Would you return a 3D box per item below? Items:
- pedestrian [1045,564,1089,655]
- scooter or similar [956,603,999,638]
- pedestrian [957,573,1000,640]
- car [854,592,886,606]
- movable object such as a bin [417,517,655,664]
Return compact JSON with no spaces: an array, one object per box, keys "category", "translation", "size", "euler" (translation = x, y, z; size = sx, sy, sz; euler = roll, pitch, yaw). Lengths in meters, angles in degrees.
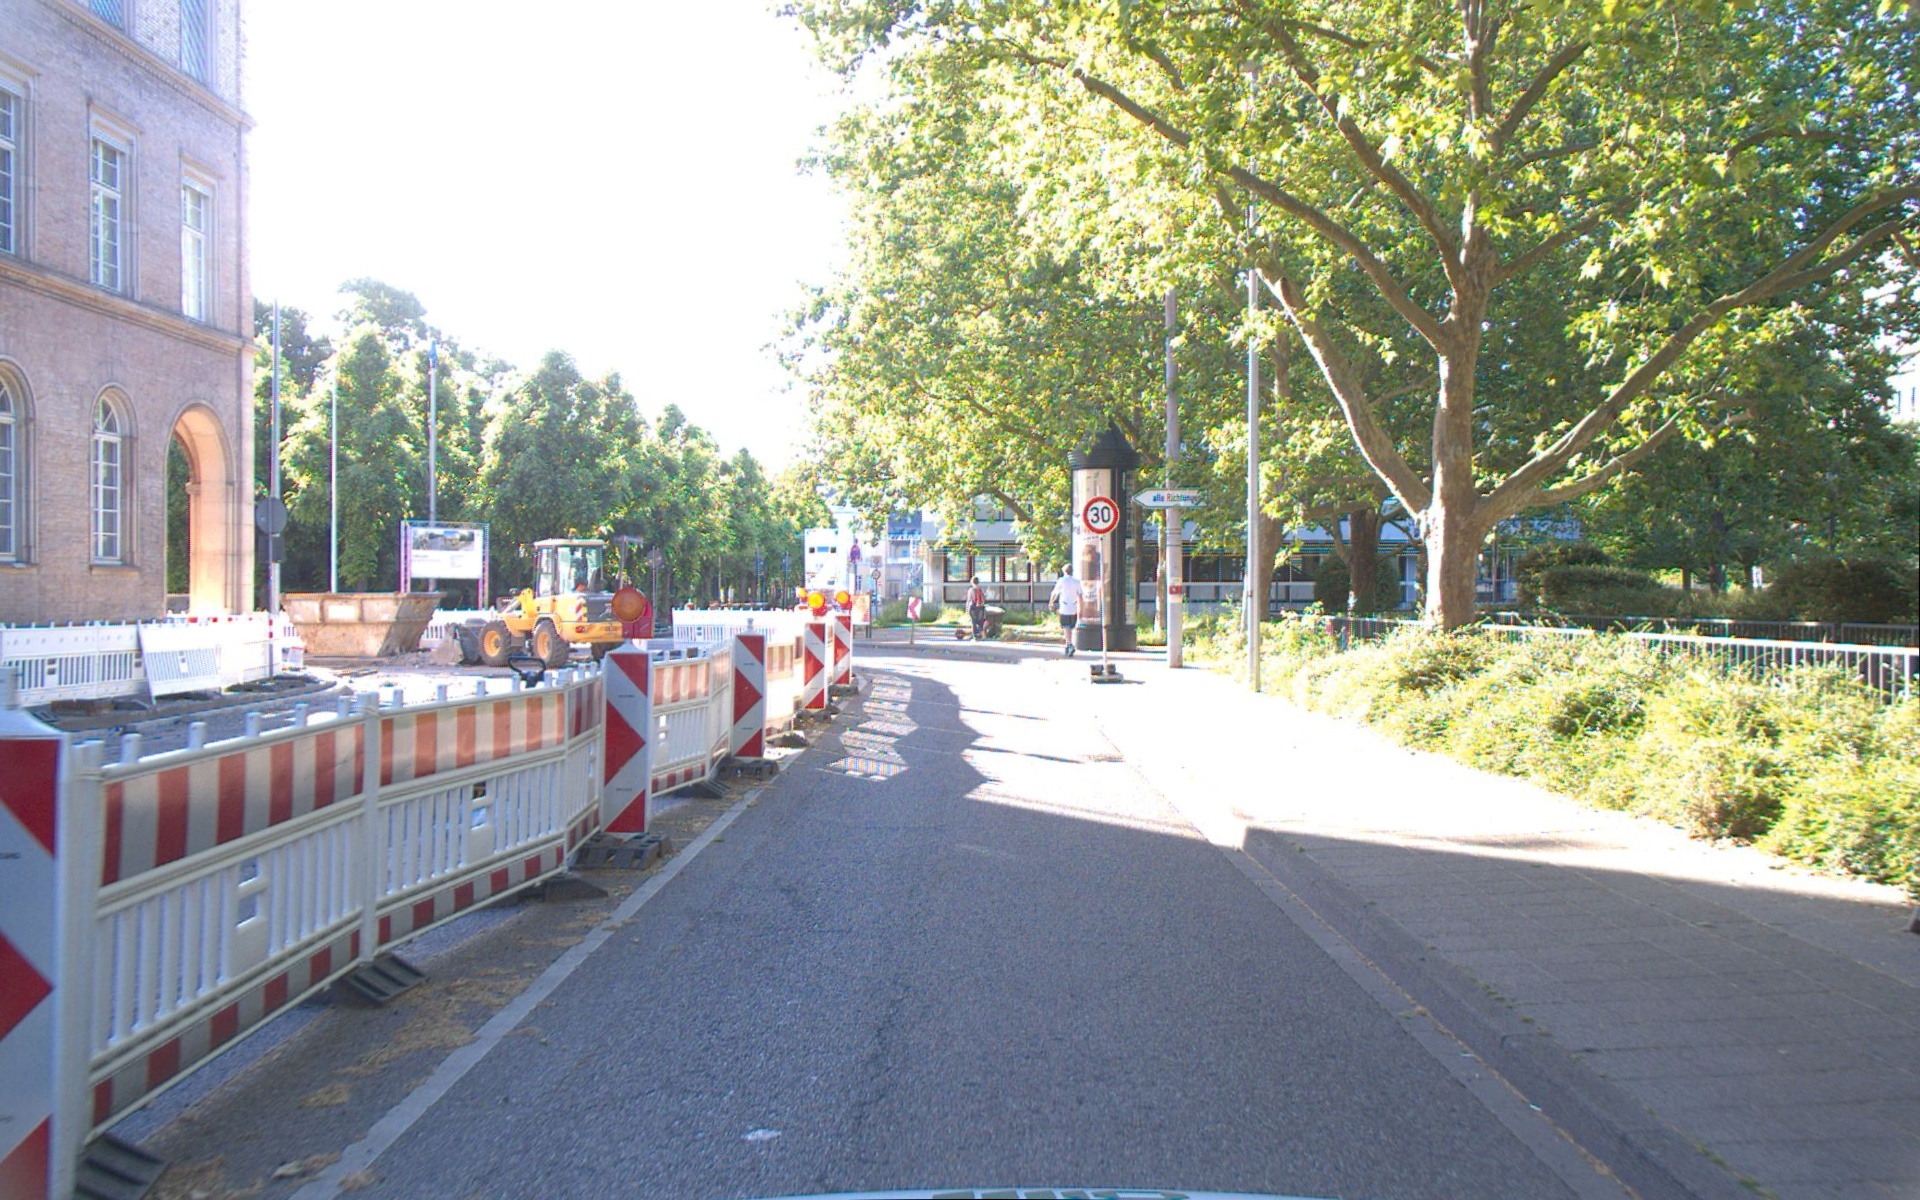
[{"category":"pedestrian","translation":[2.244,0.178,34.803],"size":[0.730,1.844,1.133],"euler":[1,2,-5]},{"category":"scooter or similar","translation":[0.485,0.575,46.101],"size":[1.125,0.930,0.419],"euler":[-2,-1,-8]},{"category":"pedestrian","translation":[0.454,0.163,41.614],"size":[0.701,1.652,0.929],"euler":[0,-1,-32]},{"category":"car","translation":[-12.618,-0.134,232.692],"size":[4.465,1.822,1.999],"euler":[1,0,-2]},{"category":"movable object such as a bin","translation":[-9.731,-0.197,37.630],"size":[5.830,3.084,2.550],"euler":[-1,0,44]}]
